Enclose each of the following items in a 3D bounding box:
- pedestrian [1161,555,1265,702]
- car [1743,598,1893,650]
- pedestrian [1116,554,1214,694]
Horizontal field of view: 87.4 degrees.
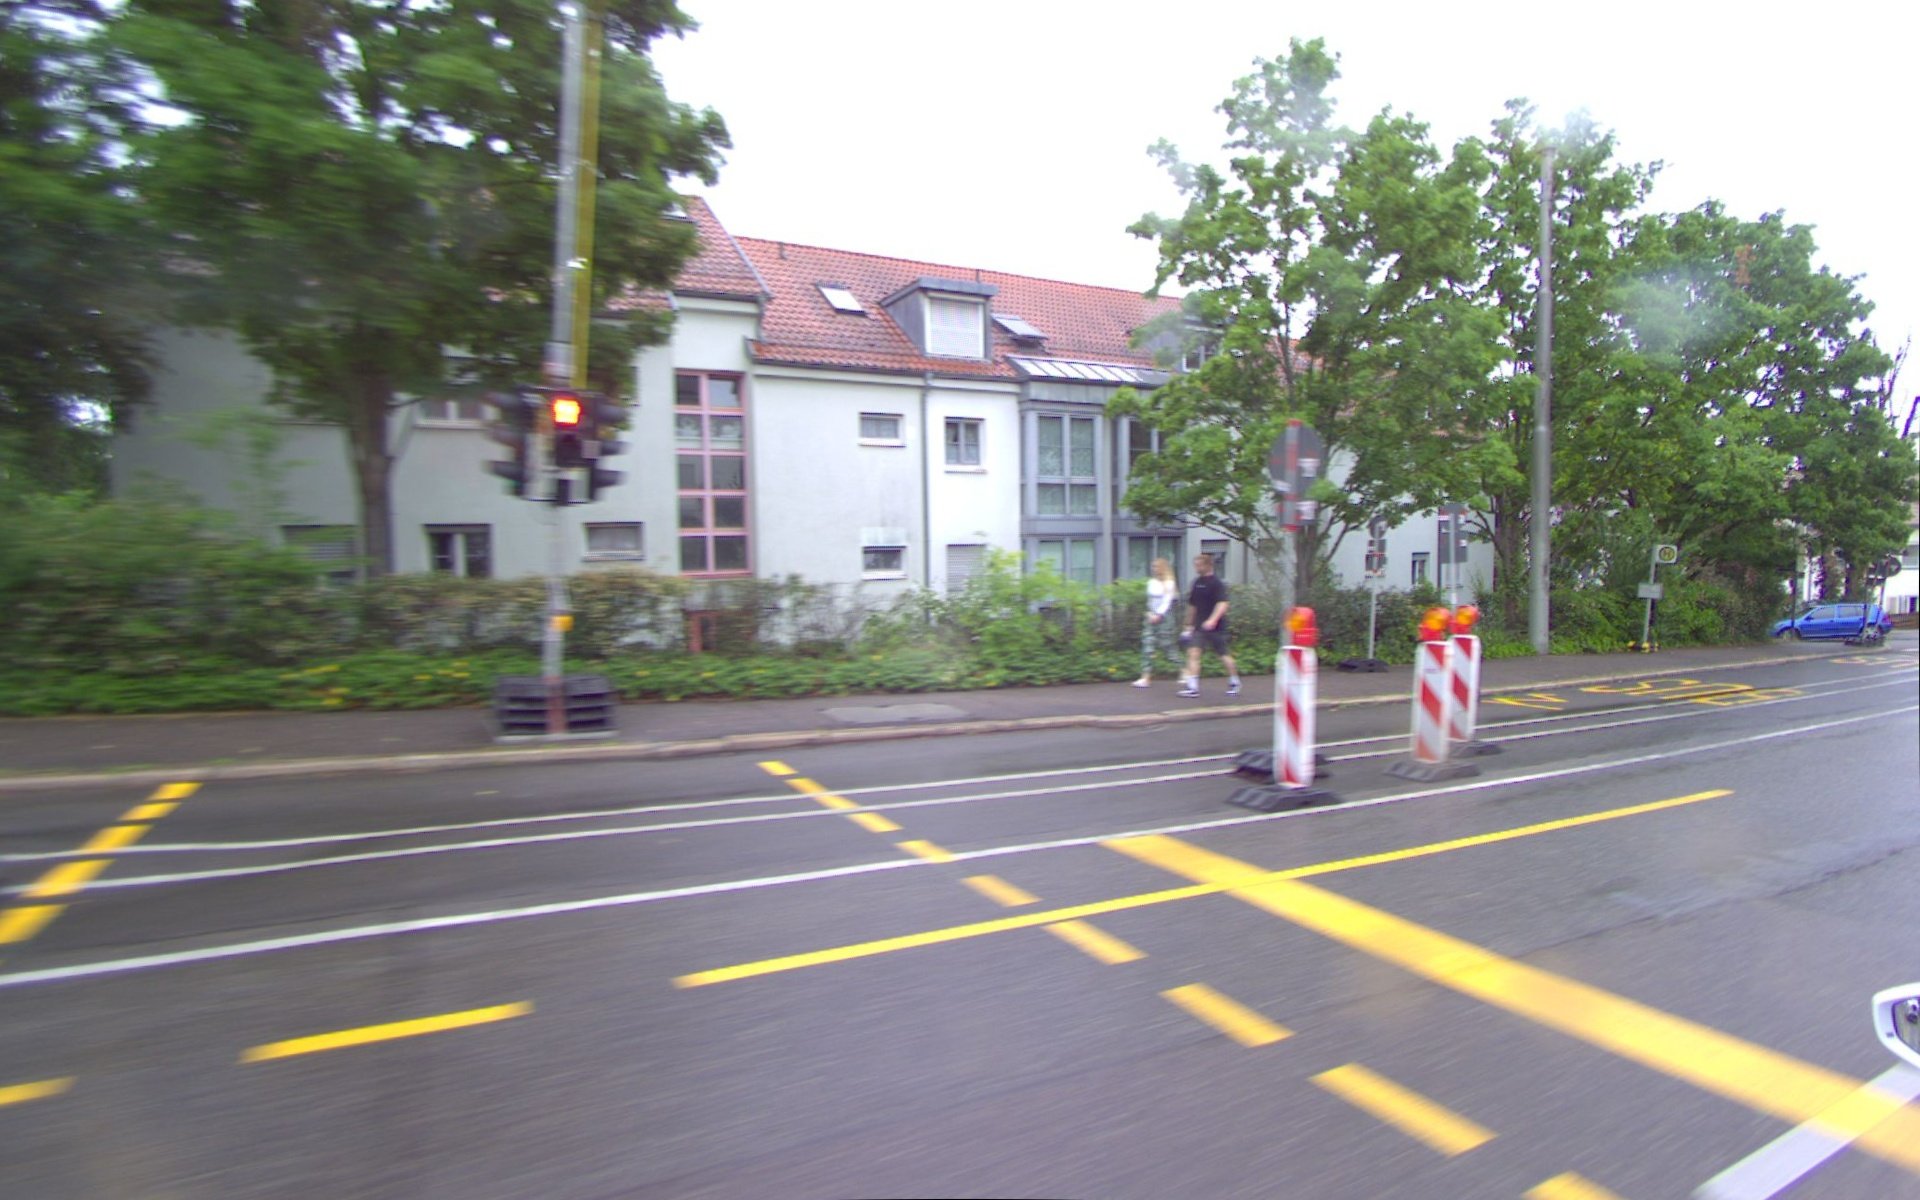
[{"bbox_3d":[3.342,0.349,13.283,1.136,1.841,0.702,-1,4,-35],"label":"pedestrian"},{"bbox_3d":[32.679,0.869,38.385,3.864,1.688,1.842,3,1,20],"label":"car"},{"bbox_3d":[2.823,0.308,13.857,1.144,1.841,0.676,-1,4,-35],"label":"pedestrian"}]
